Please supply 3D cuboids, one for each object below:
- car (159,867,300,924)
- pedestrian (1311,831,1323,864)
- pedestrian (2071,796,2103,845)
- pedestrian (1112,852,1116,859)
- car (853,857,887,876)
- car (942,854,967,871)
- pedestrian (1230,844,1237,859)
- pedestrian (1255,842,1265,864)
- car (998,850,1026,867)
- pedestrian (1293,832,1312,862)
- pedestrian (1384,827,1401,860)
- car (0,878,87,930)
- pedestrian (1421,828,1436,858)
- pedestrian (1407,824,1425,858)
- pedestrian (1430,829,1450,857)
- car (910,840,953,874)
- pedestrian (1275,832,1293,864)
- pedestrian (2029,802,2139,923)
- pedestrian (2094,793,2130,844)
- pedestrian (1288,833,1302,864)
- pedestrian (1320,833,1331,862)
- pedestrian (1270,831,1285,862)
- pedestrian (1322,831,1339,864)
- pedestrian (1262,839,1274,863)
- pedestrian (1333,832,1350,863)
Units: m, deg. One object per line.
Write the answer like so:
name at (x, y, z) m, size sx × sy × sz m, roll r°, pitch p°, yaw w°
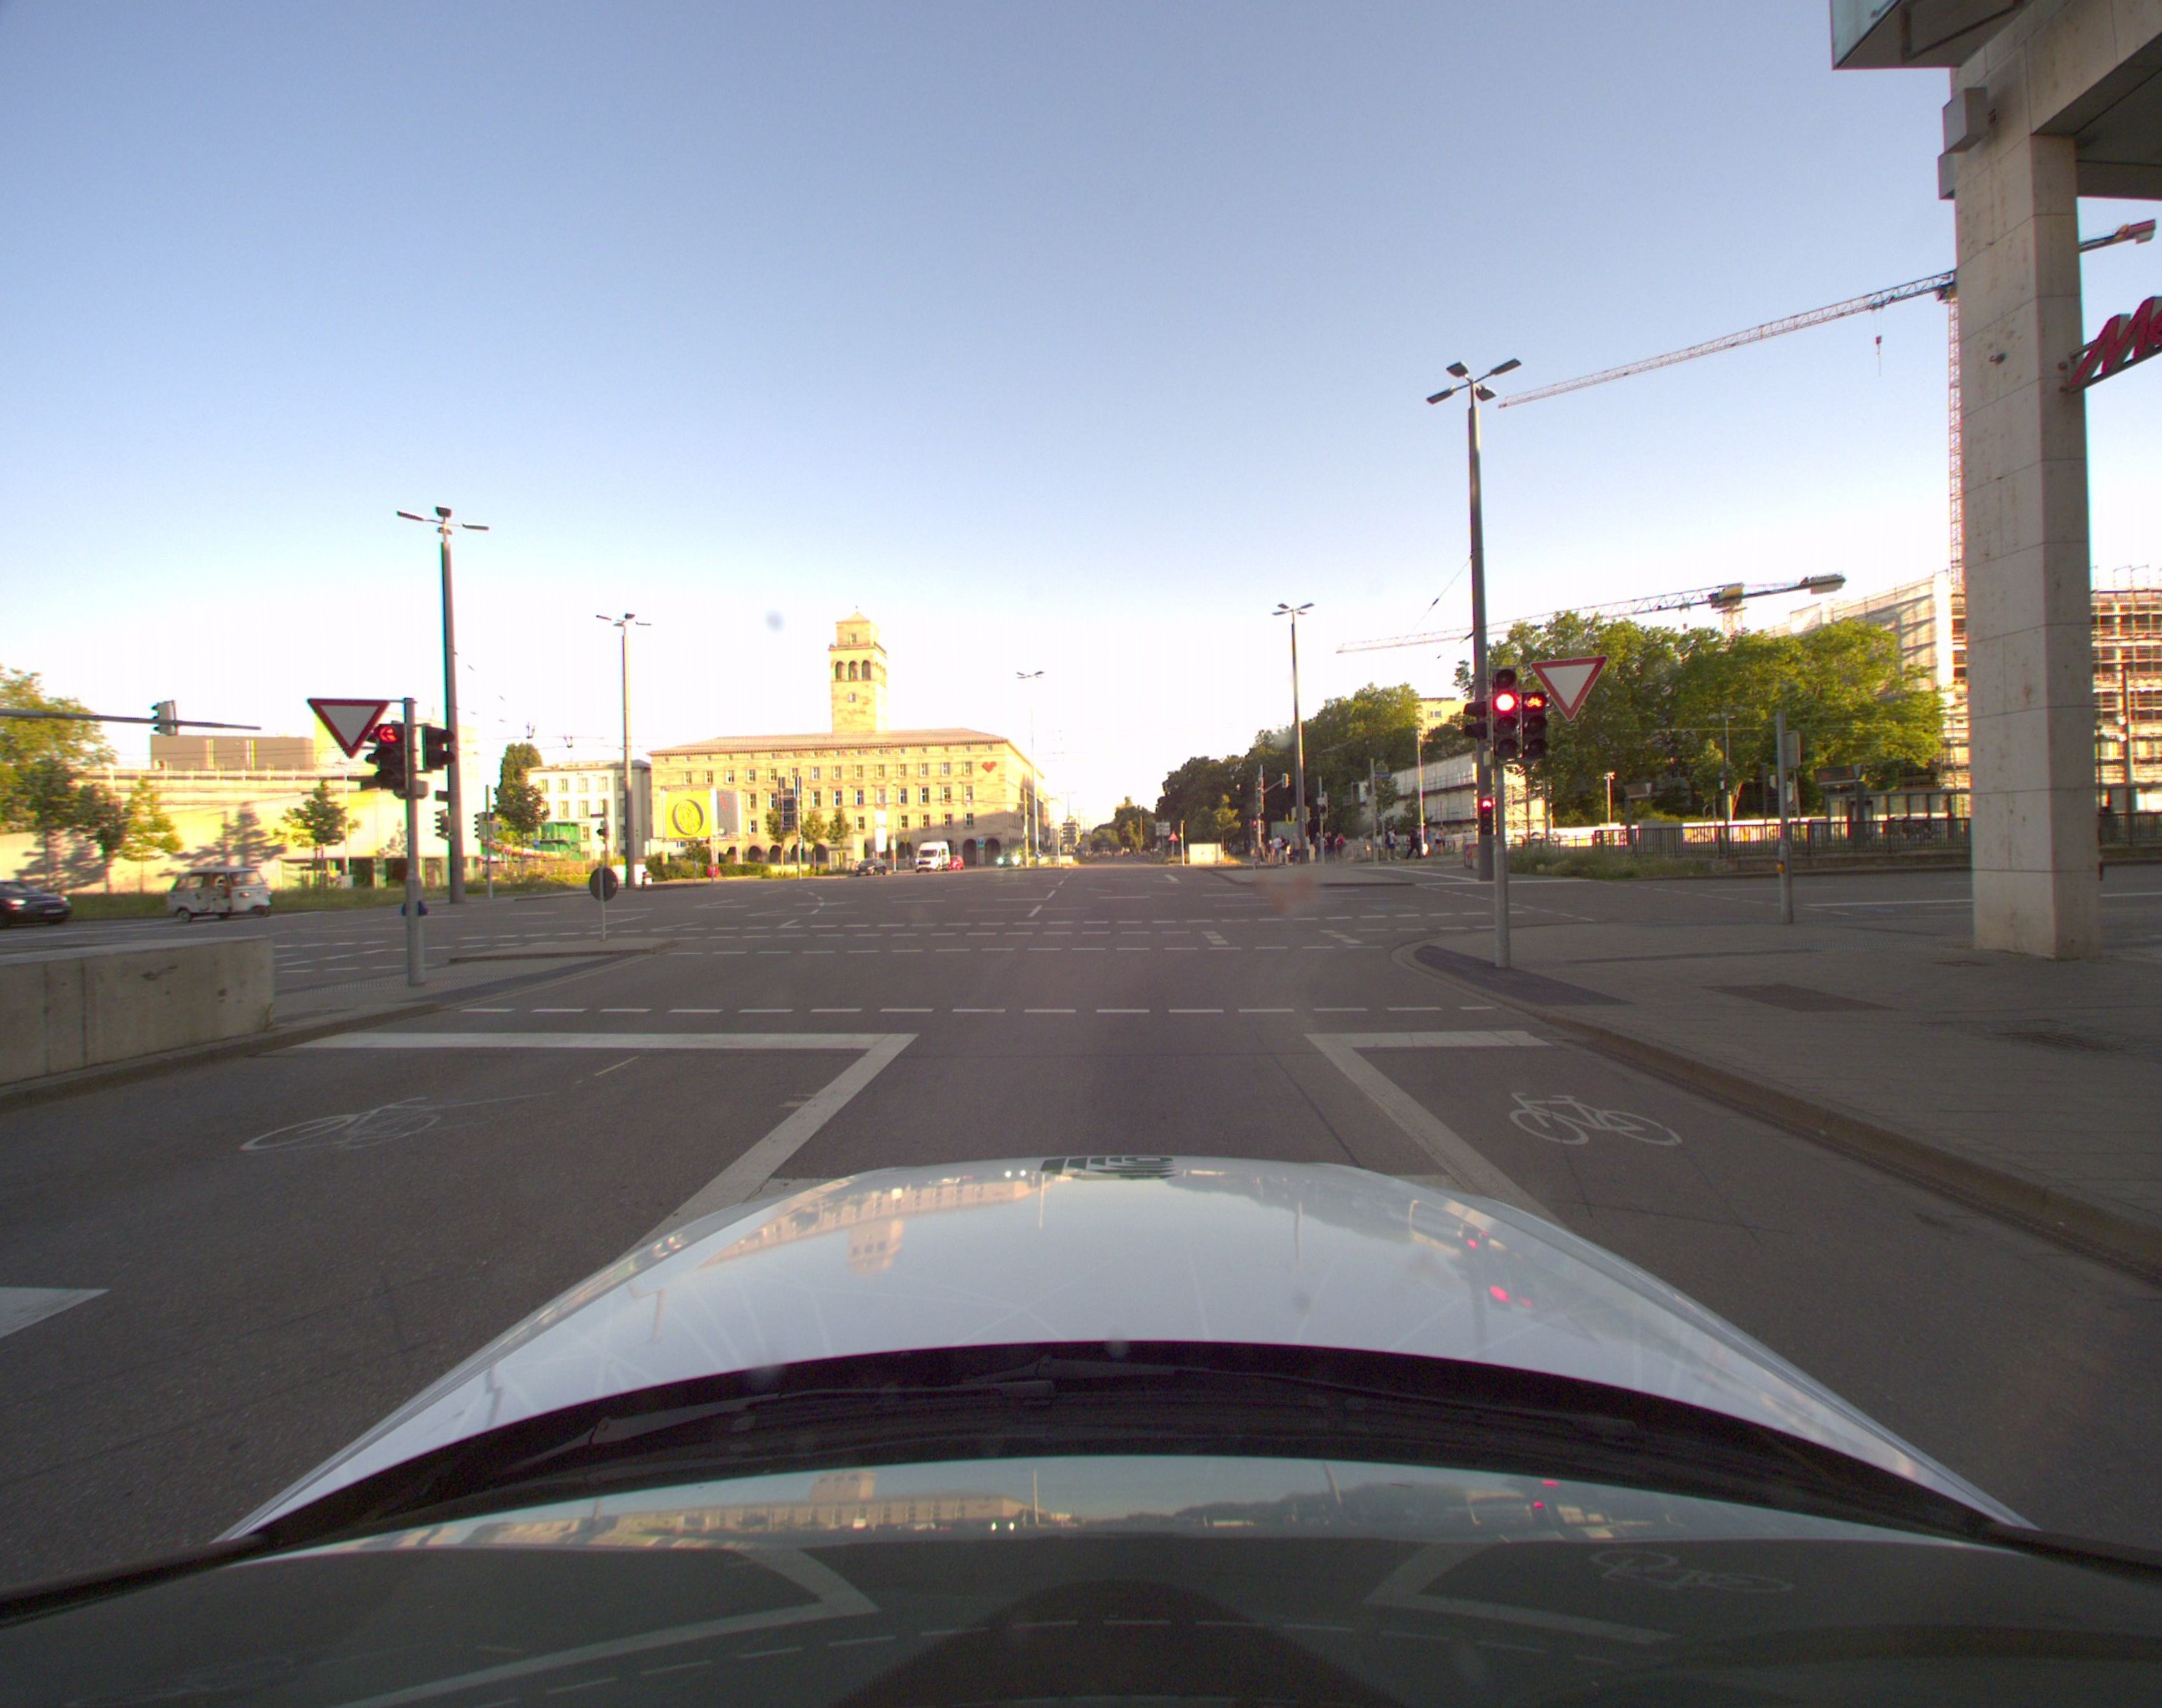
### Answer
car at (-28.552, 1.359, 27.368) m, size 2.960 × 1.696 × 1.485 m, roll -2°, pitch 0°, yaw -6°
pedestrian at (13.198, -0.366, 45.520) m, size 0.568 × 1.791 × 0.641 m, roll -2°, pitch 1°, yaw 16°
pedestrian at (42.174, -1.399, 34.138) m, size 0.573 × 2.013 × 0.568 m, roll -2°, pitch 0°, yaw -2°
pedestrian at (7.915, 0.370, 194.846) m, size 0.903 × 1.671 × 1.307 m, roll -2°, pitch 1°, yaw 1°
car at (-18.336, 1.088, 70.948) m, size 1.817 × 1.466 × 4.158 m, roll -2°, pitch 1°, yaw 0°
car at (-12.636, 0.823, 81.673) m, size 1.732 × 1.487 × 4.002 m, roll -2°, pitch 1°, yaw 2°
pedestrian at (18.010, -0.299, 96.132) m, size 0.639 × 1.760 × 0.525 m, roll -2°, pitch 1°, yaw 3°
pedestrian at (13.328, -0.082, 60.648) m, size 0.555 × 1.654 × 0.907 m, roll -2°, pitch 1°, yaw 22°
car at (-6.166, 0.384, 72.963) m, size 1.815 × 1.341 × 4.005 m, roll -2°, pitch 1°, yaw 4°
pedestrian at (12.651, -0.401, 46.495) m, size 0.906 × 1.725 × 0.715 m, roll -2°, pitch 1°, yaw 9°
pedestrian at (16.619, -0.579, 43.446) m, size 0.662 × 1.725 × 0.715 m, roll -2°, pitch 0°, yaw 10°
car at (-36.471, 1.711, 27.194) m, size 4.112 × 1.604 × 1.742 m, roll -2°, pitch 0°, yaw -4°
pedestrian at (19.014, -0.590, 44.521) m, size 0.569 × 1.592 × 0.537 m, roll -2°, pitch 0°, yaw 1°
pedestrian at (17.600, -0.687, 42.787) m, size 0.662 × 1.725 × 0.714 m, roll -2°, pitch 0°, yaw 7°
pedestrian at (19.034, -0.575, 43.188) m, size 0.709 × 1.441 × 0.679 m, roll -2°, pitch 0°, yaw 3°
car at (-13.285, 0.224, 72.986) m, size 2.269 × 2.776 × 6.090 m, roll -2°, pitch 0°, yaw 4°
pedestrian at (11.009, -0.321, 44.177) m, size 0.905 × 1.725 × 0.716 m, roll -2°, pitch 1°, yaw 16°
pedestrian at (14.243, 0.113, 11.575) m, size 0.708 × 1.638 × 0.788 m, roll -2°, pitch 0°, yaw -21°
pedestrian at (42.170, -1.439, 33.319) m, size 0.623 × 2.013 × 0.642 m, roll -2°, pitch 0°, yaw -2°
pedestrian at (11.925, -0.316, 45.446) m, size 0.705 × 1.725 × 0.671 m, roll -2°, pitch 1°, yaw 15°
pedestrian at (14.116, -0.375, 46.959) m, size 0.568 × 1.678 × 0.641 m, roll -2°, pitch 1°, yaw 16°
pedestrian at (11.010, -0.435, 45.666) m, size 0.704 × 1.725 × 0.672 m, roll -2°, pitch 1°, yaw 22°
pedestrian at (13.927, -0.372, 45.471) m, size 0.799 × 1.791 × 0.803 m, roll -2°, pitch 1°, yaw 14°
pedestrian at (13.884, -0.224, 60.352) m, size 0.673 × 1.757 × 0.907 m, roll -2°, pitch 1°, yaw 22°
pedestrian at (14.675, -0.376, 45.866) m, size 0.838 × 1.734 × 0.708 m, roll -2°, pitch 1°, yaw 14°
